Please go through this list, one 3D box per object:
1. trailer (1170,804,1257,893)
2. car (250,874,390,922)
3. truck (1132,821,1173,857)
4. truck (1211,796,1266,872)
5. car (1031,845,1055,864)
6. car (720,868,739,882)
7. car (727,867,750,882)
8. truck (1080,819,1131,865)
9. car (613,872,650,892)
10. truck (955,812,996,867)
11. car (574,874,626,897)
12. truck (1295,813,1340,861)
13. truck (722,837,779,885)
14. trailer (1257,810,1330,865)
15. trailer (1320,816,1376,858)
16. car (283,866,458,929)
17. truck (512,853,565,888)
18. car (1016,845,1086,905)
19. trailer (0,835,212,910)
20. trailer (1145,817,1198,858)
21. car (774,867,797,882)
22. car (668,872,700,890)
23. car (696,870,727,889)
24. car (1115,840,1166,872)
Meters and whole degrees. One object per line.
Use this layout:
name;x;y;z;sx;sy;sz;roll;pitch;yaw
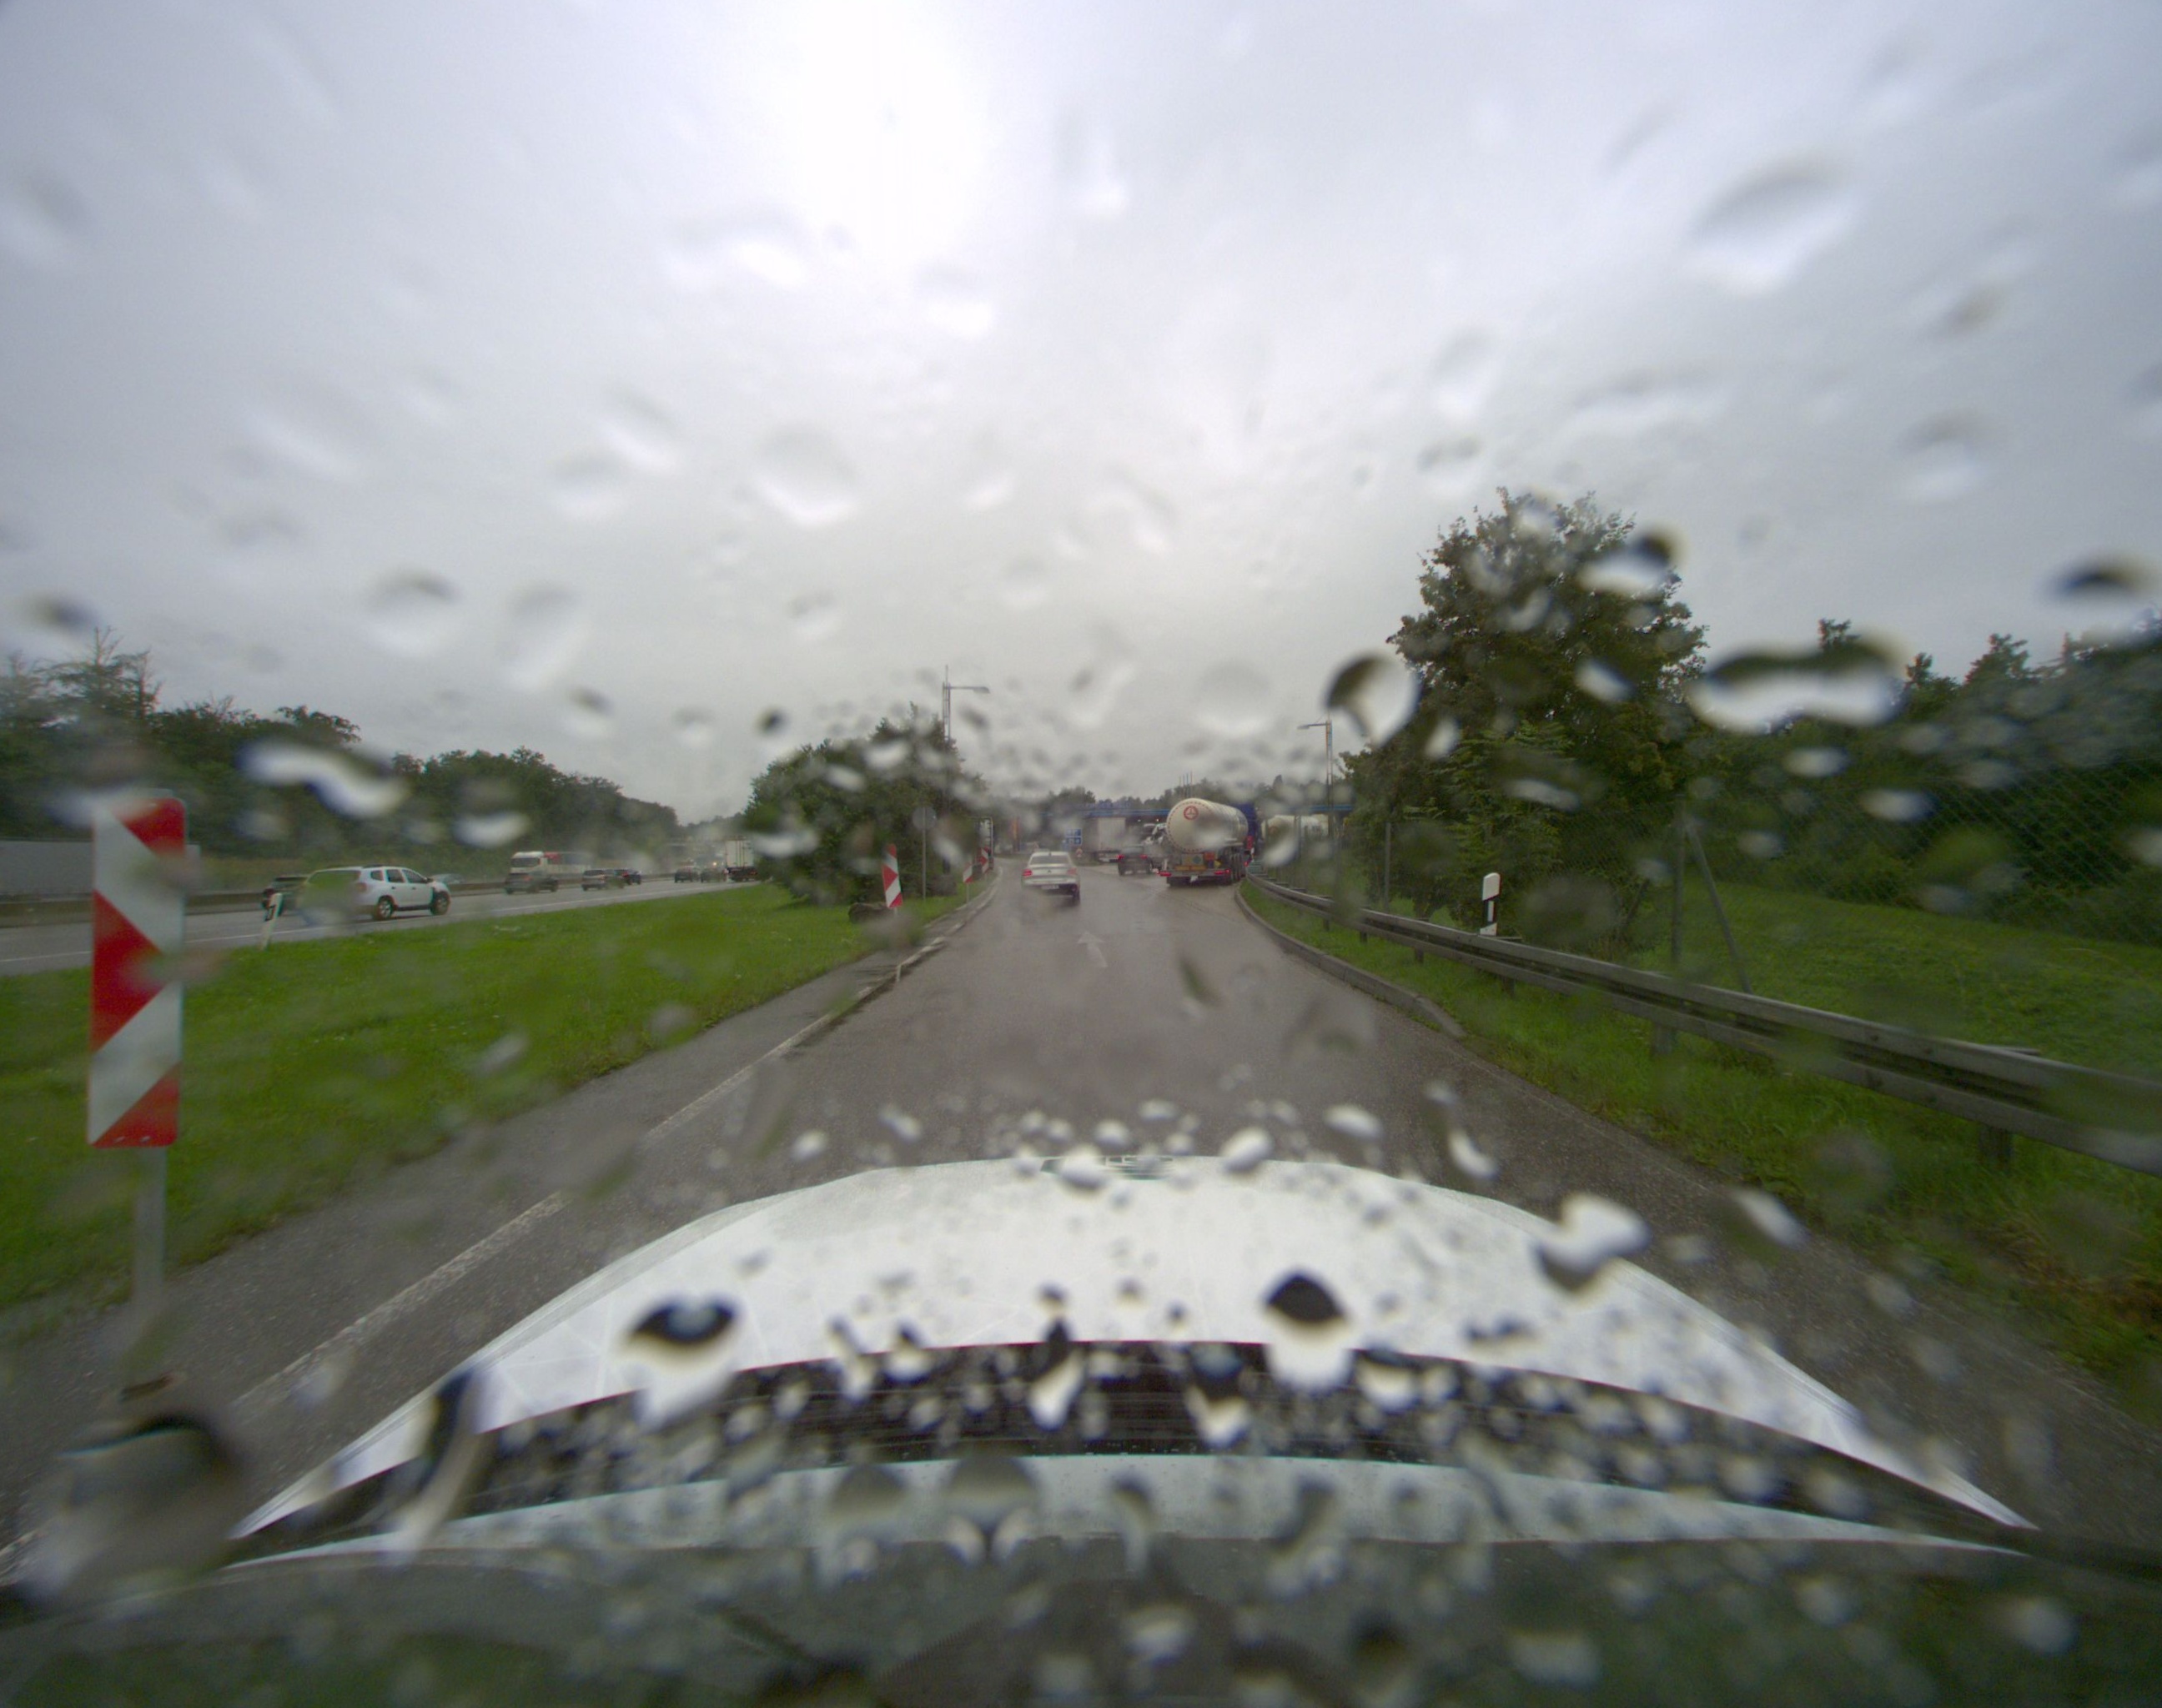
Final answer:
trailer;5.865;-0.251;34.505;1.964;3.224;10.370;-1;0;18
car;-30.017;1.681;32.340;1.926;1.663;4.442;-2;-1;-11
truck;8.596;-1.869;99.028;3.231;4.188;8.423;0;1;-7
truck;7.983;-0.969;40.945;2.036;3.531;4.769;-1;0;19
car;-2.996;0.067;65.113;1.874;1.461;3.997;0;0;-2
car;-55.449;3.297;128.566;1.994;2.014;3.984;-2;-1;-11
car;-47.480;2.834;112.976;1.994;2.014;3.984;3;-2;-11
truck;2.135;-1.091;76.620;2.370;3.873;12.415;-2;1;-9
car;-42.894;2.644;77.791;1.776;1.736;4.085;-2;-1;-10
truck;-8.040;-1.084;61.585;2.914;3.904;6.297;-1;1;-9
car;-35.993;2.322;61.060;1.787;1.527;4.323;-2;-1;-7
truck;17.967;-1.280;61.820;2.125;3.513;4.675;-1;1;30
truck;-32.179;0.743;79.718;2.850;4.293;11.796;-1;-1;-11
trailer;14.913;-1.129;56.567;2.111;3.440;10.318;-1;1;30
trailer;23.097;-1.459;70.196;2.161;3.392;7.612;-1;1;37
car;-20.661;1.191;23.955;1.785;1.586;4.310;-2;0;-9
truck;-60.584;1.818;91.045;2.622;3.670;5.972;2;0;-10
car;-0.851;0.642;25.452;1.987;1.679;3.999;-2;-1;0
trailer;-55.091;0.822;44.257;2.724;3.538;14.011;3;0;-10
trailer;9.772;-1.745;89.150;3.213;4.188;11.502;0;1;-7
car;-36.100;2.450;99.672;1.994;1.816;3.984;0;-1;-11
car;-40.667;2.761;83.581;1.776;1.736;4.086;-3;0;-10
car;-35.828;2.445;79.069;1.776;1.736;3.833;-2;-1;-10
car;3.372;0.148;45.277;1.728;1.667;4.020;1;-1;21
